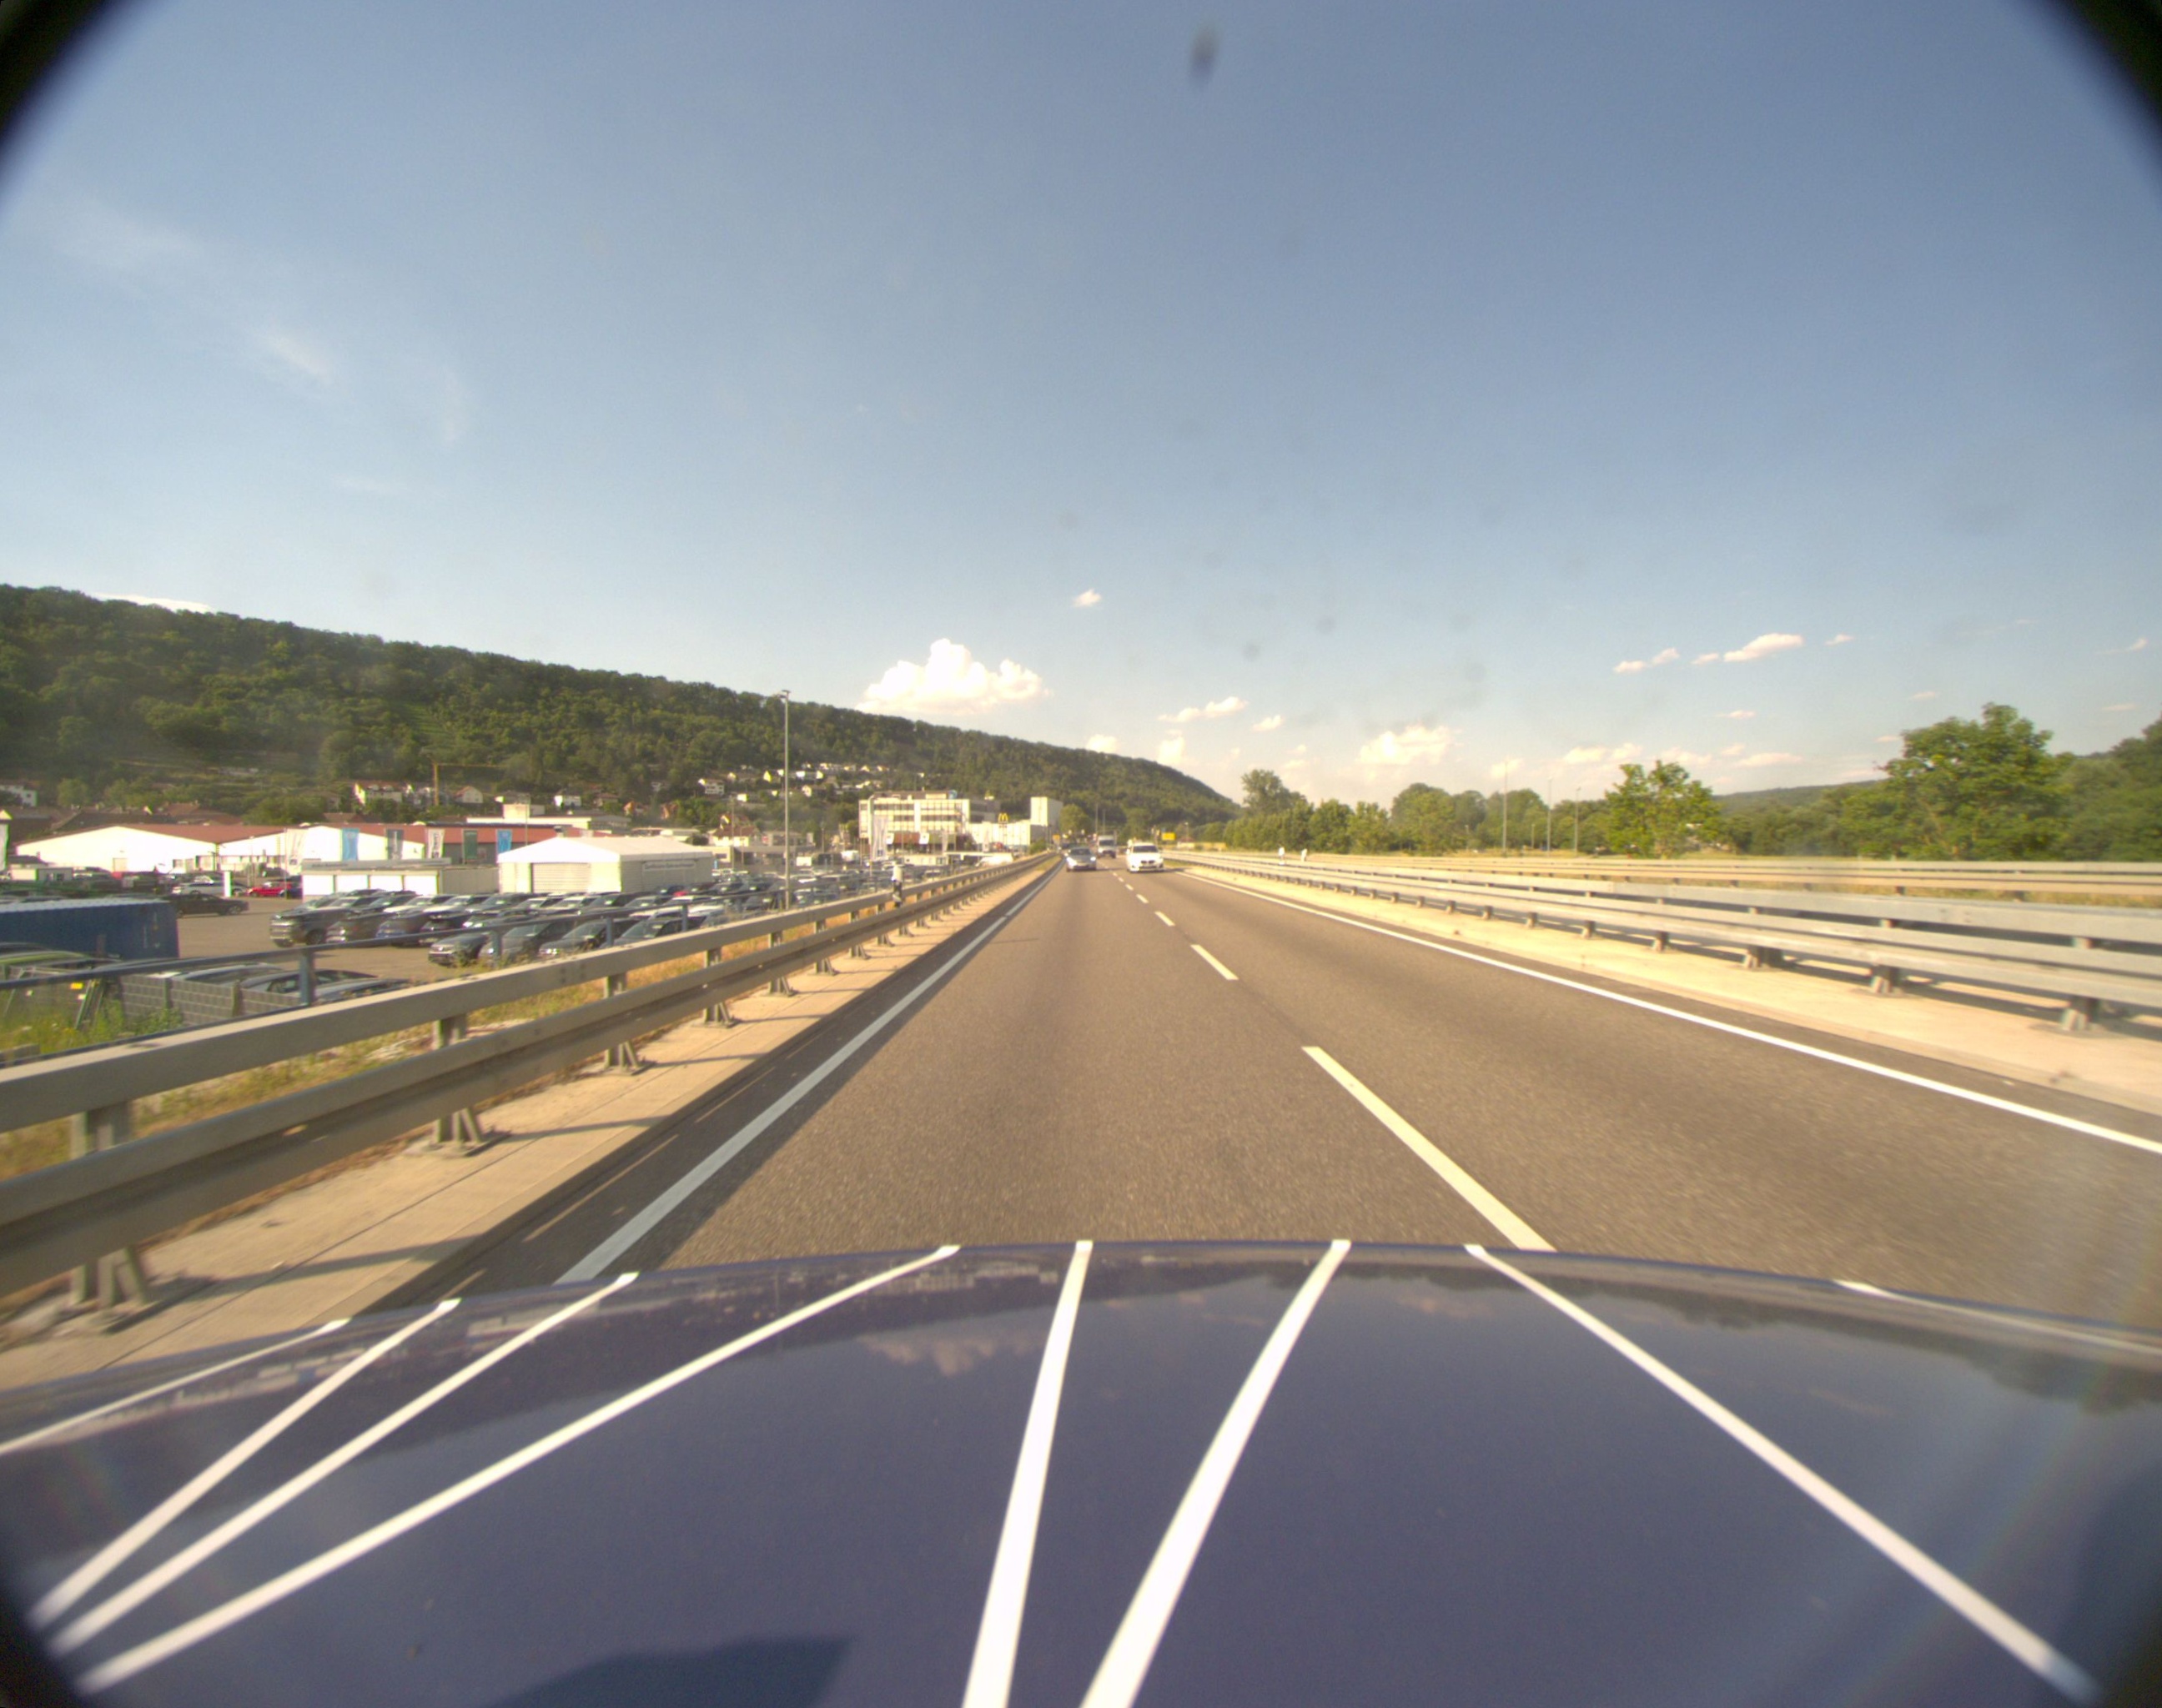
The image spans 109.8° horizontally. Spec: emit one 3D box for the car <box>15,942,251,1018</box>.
[{"bbox_3d":[-28.336,3.705,22.935,1.809,1.494,4.003,-2,1,12],"label":"car"}]

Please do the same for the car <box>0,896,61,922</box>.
[{"bbox_3d":[-76.645,3.994,54.462,1.748,1.568,3.785,-1,2,22],"label":"car"}]

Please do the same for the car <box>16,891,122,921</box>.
[{"bbox_3d":[-66.719,3.396,50.170,1.748,1.568,3.785,-1,2,22],"label":"car"}]

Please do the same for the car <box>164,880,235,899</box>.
[{"bbox_3d":[-88.022,3.527,75.939,1.586,1.494,4.233,-1,2,23],"label":"car"}]

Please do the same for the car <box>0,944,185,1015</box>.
[{"bbox_3d":[-30.994,3.803,23.367,1.708,1.456,4.004,-2,1,16],"label":"car"}]

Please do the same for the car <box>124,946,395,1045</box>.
[{"bbox_3d":[-20.807,3.502,19.554,1.956,1.632,4.246,-2,1,13],"label":"car"}]

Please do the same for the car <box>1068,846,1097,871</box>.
[{"bbox_3d":[0.112,0.257,45.598,1.690,1.383,3.883,-1,1,1],"label":"car"}]

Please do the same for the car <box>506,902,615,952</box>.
[{"bbox_3d":[-23.040,3.199,33.837,1.779,1.674,4.000,-2,1,5],"label":"car"}]

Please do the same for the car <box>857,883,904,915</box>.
[{"bbox_3d":[-12.630,2.827,48.116,1.616,1.669,3.836,-2,1,4],"label":"car"}]

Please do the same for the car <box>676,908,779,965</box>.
[{"bbox_3d":[-12.529,2.877,27.226,1.710,1.456,3.999,-2,1,0],"label":"car"}]

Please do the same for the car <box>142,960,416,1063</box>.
[{"bbox_3d":[-18.673,3.576,17.985,1.820,1.490,4.003,-2,1,13],"label":"car"}]

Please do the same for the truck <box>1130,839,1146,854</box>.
[{"bbox_3d":[13.475,-1.754,180.549,2.940,3.477,10.496,0,1,0],"label":"truck"}]

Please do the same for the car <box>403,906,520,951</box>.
[{"bbox_3d":[-27.641,3.294,34.088,1.709,1.456,4.000,-2,1,5],"label":"car"}]

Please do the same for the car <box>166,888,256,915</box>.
[{"bbox_3d":[-62.050,3.365,54.254,1.748,1.568,3.785,-1,2,22],"label":"car"}]

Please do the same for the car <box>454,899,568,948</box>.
[{"bbox_3d":[-25.378,3.061,34.042,1.779,1.674,4.000,-2,1,5],"label":"car"}]

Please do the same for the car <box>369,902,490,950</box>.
[{"bbox_3d":[-29.587,3.243,34.672,1.779,1.674,4.000,-2,1,5],"label":"car"}]

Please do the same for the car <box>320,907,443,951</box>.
[{"bbox_3d":[-32.161,3.413,35.110,1.709,1.456,4.000,-2,1,5],"label":"car"}]

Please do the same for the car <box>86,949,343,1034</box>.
[{"bbox_3d":[-22.912,3.566,20.351,1.956,1.456,4.003,-2,1,13],"label":"car"}]

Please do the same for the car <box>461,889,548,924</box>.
[{"bbox_3d":[-33.874,3.042,44.775,1.779,1.674,4.000,-2,1,5],"label":"car"}]

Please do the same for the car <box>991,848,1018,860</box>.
[{"bbox_3d":[-12.243,-0.026,122.298,3.996,1.740,1.901,-2,2,2],"label":"car"}]

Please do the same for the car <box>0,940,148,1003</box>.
[{"bbox_3d":[-32.988,3.728,24.019,1.708,1.456,4.004,-2,1,16],"label":"car"}]

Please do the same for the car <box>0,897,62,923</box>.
[{"bbox_3d":[-74.764,3.976,53.115,1.748,1.568,3.785,-1,2,22],"label":"car"}]

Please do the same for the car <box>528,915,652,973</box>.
[{"bbox_3d":[-17.654,3.195,27.567,1.710,1.456,4.000,-2,1,2],"label":"car"}]

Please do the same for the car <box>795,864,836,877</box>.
[{"bbox_3d":[-33.000,2.055,94.607,4.427,1.361,1.801,-2,2,8],"label":"car"}]

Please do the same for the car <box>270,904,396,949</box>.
[{"bbox_3d":[-34.914,3.344,35.631,1.709,1.594,4.000,-2,1,5],"label":"car"}]

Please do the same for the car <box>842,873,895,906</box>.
[{"bbox_3d":[-11.394,1.861,40.994,1.710,1.456,3.999,-2,1,0],"label":"car"}]

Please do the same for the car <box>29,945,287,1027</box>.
[{"bbox_3d":[-25.249,3.548,21.024,1.956,1.456,4.003,-2,1,13],"label":"car"}]

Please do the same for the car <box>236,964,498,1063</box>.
[{"bbox_3d":[-16.213,3.553,17.582,1.820,1.346,4.003,-2,1,13],"label":"car"}]

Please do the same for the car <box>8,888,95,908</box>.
[{"bbox_3d":[-86.753,3.716,64.085,1.586,1.343,4.005,-1,2,23],"label":"car"}]

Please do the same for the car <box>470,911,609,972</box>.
[{"bbox_3d":[-19.998,3.175,28.348,1.709,1.614,4.355,-2,1,5],"label":"car"}]

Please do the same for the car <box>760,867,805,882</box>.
[{"bbox_3d":[-34.073,2.347,86.691,4.427,1.535,1.801,-2,2,8],"label":"car"}]

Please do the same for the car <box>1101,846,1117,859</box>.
[{"bbox_3d":[3.079,-0.205,84.507,1.690,1.383,3.883,-1,1,1],"label":"car"}]

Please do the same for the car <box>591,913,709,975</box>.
[{"bbox_3d":[-15.171,3.121,26.999,1.710,1.554,4.000,-2,1,2],"label":"car"}]

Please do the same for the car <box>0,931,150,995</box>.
[{"bbox_3d":[-34.743,3.649,25.417,1.956,1.585,4.003,-2,1,13],"label":"car"}]

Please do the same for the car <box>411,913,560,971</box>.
[{"bbox_3d":[-22.320,3.262,28.709,1.956,1.634,4.003,-2,1,13],"label":"car"}]

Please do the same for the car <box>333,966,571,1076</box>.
[{"bbox_3d":[-13.819,3.616,17.061,1.709,1.456,4.000,-2,1,5],"label":"car"}]

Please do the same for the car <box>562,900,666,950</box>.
[{"bbox_3d":[-20.424,3.076,33.441,1.779,1.674,4.000,-2,1,5],"label":"car"}]
